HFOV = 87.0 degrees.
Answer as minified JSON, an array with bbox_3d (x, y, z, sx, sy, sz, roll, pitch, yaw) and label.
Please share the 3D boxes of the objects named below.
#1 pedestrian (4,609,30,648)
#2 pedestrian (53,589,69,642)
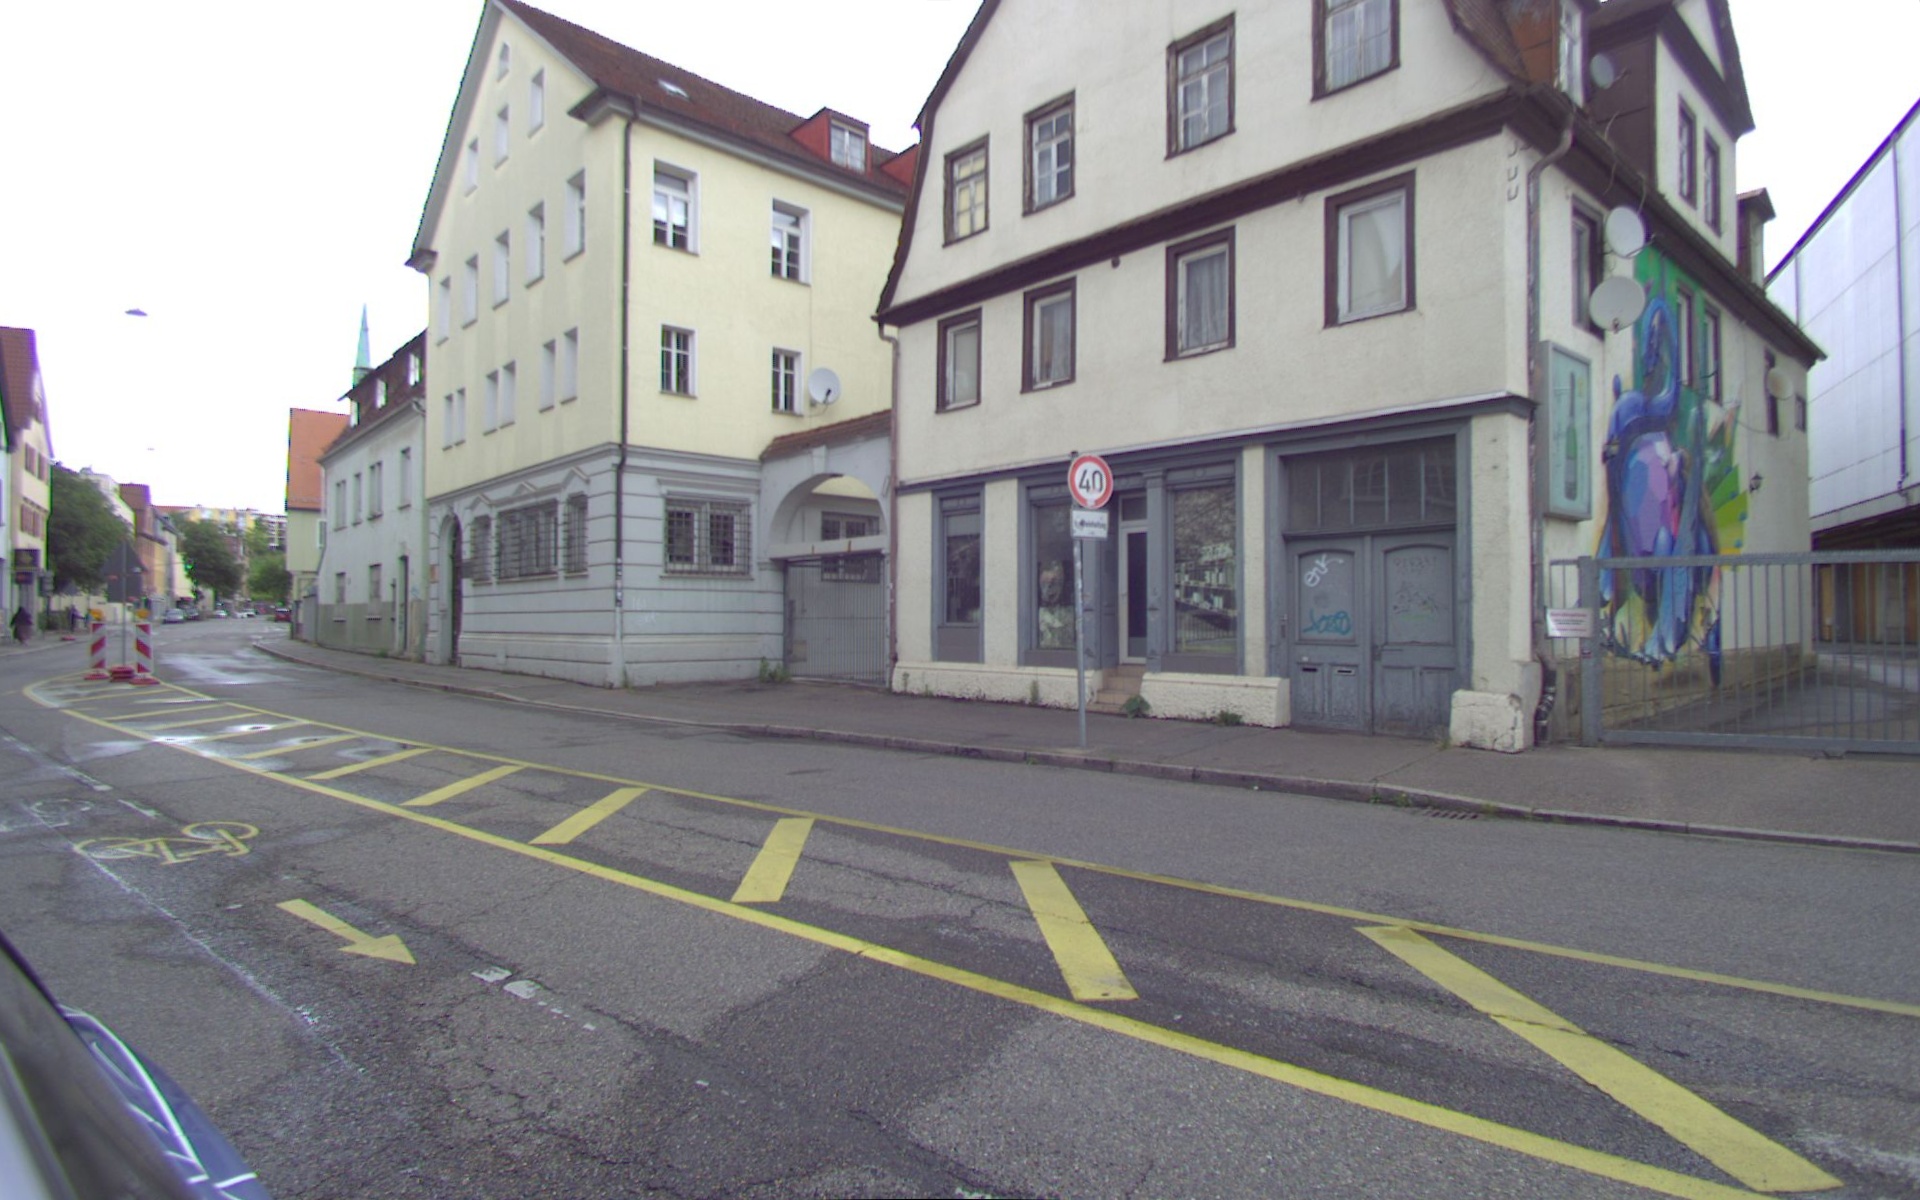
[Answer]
[{"bbox_3d":[-39.648,1.201,42.543,0.714,1.626,0.650,1,-2,-38],"label":"pedestrian"},{"bbox_3d":[-43.767,0.773,49.284,0.487,2.547,0.747,1,-2,-38],"label":"pedestrian"}]
